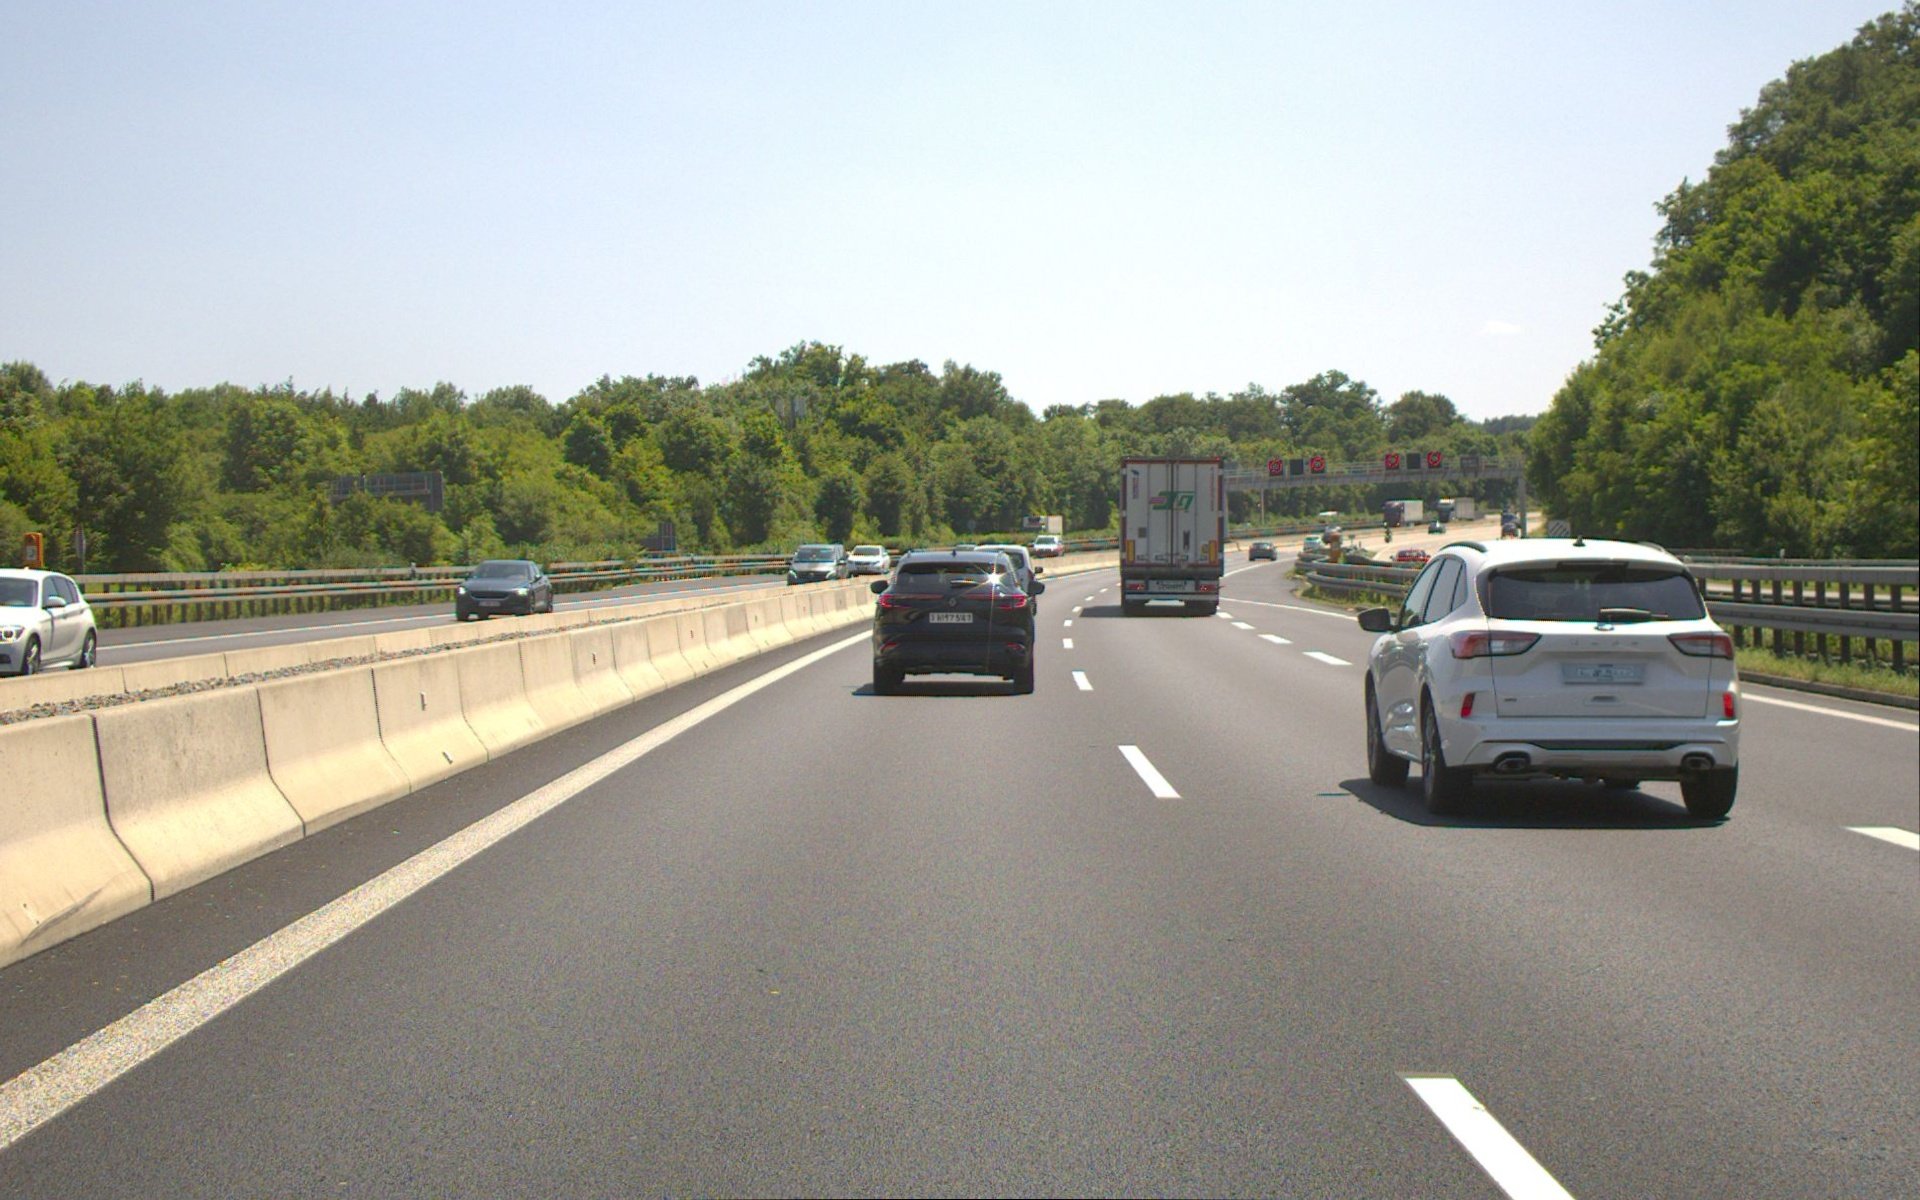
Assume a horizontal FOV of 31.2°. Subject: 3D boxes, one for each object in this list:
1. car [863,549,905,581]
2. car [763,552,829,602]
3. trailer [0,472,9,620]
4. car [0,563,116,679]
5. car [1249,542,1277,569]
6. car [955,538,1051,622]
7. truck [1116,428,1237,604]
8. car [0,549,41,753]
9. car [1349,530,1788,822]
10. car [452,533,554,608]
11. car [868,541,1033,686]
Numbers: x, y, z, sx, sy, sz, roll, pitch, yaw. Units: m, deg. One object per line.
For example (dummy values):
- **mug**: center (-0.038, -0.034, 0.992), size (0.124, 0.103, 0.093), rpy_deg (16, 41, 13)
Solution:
- **car**: center (-3.859, -1.795, 176.062), size (1.788, 1.626, 4.929), rpy_deg (0, 1, 3)
- **car**: center (-6.106, -0.857, 128.680), size (2.035, 1.851, 5.374), rpy_deg (0, 0, 2)
- **trailer**: center (-27.560, -1.416, 85.800), size (3.108, 3.984, 14.083), rpy_deg (0, 0, 3)
- **car**: center (-12.425, 0.239, 44.709), size (1.850, 1.390, 4.000), rpy_deg (1, 1, 1)
- **car**: center (22.353, -3.271, 253.585), size (1.994, 2.007, 3.999), rpy_deg (0, 0, 6)
- **car**: center (1.134, -0.538, 88.249), size (1.994, 2.007, 3.999), rpy_deg (-3, 1, 6)
- **truck**: center (5.720, -2.132, 92.072), size (3.032, 4.403, 12.017), rpy_deg (0, 0, 3)
- **car**: center (-8.772, 0.421, 26.792), size (1.993, 1.653, 4.634), rpy_deg (0, 0, 0)
- **car**: center (3.703, 0.421, 21.727), size (1.993, 1.656, 4.468), rpy_deg (0, 0, 0)
- **car**: center (-11.331, -0.722, 85.502), size (1.993, 1.818, 4.905), rpy_deg (0, 0, -2)
- **car**: center (-0.153, 0.140, 39.609), size (1.779, 1.572, 4.000), rpy_deg (0, 0, -2)
